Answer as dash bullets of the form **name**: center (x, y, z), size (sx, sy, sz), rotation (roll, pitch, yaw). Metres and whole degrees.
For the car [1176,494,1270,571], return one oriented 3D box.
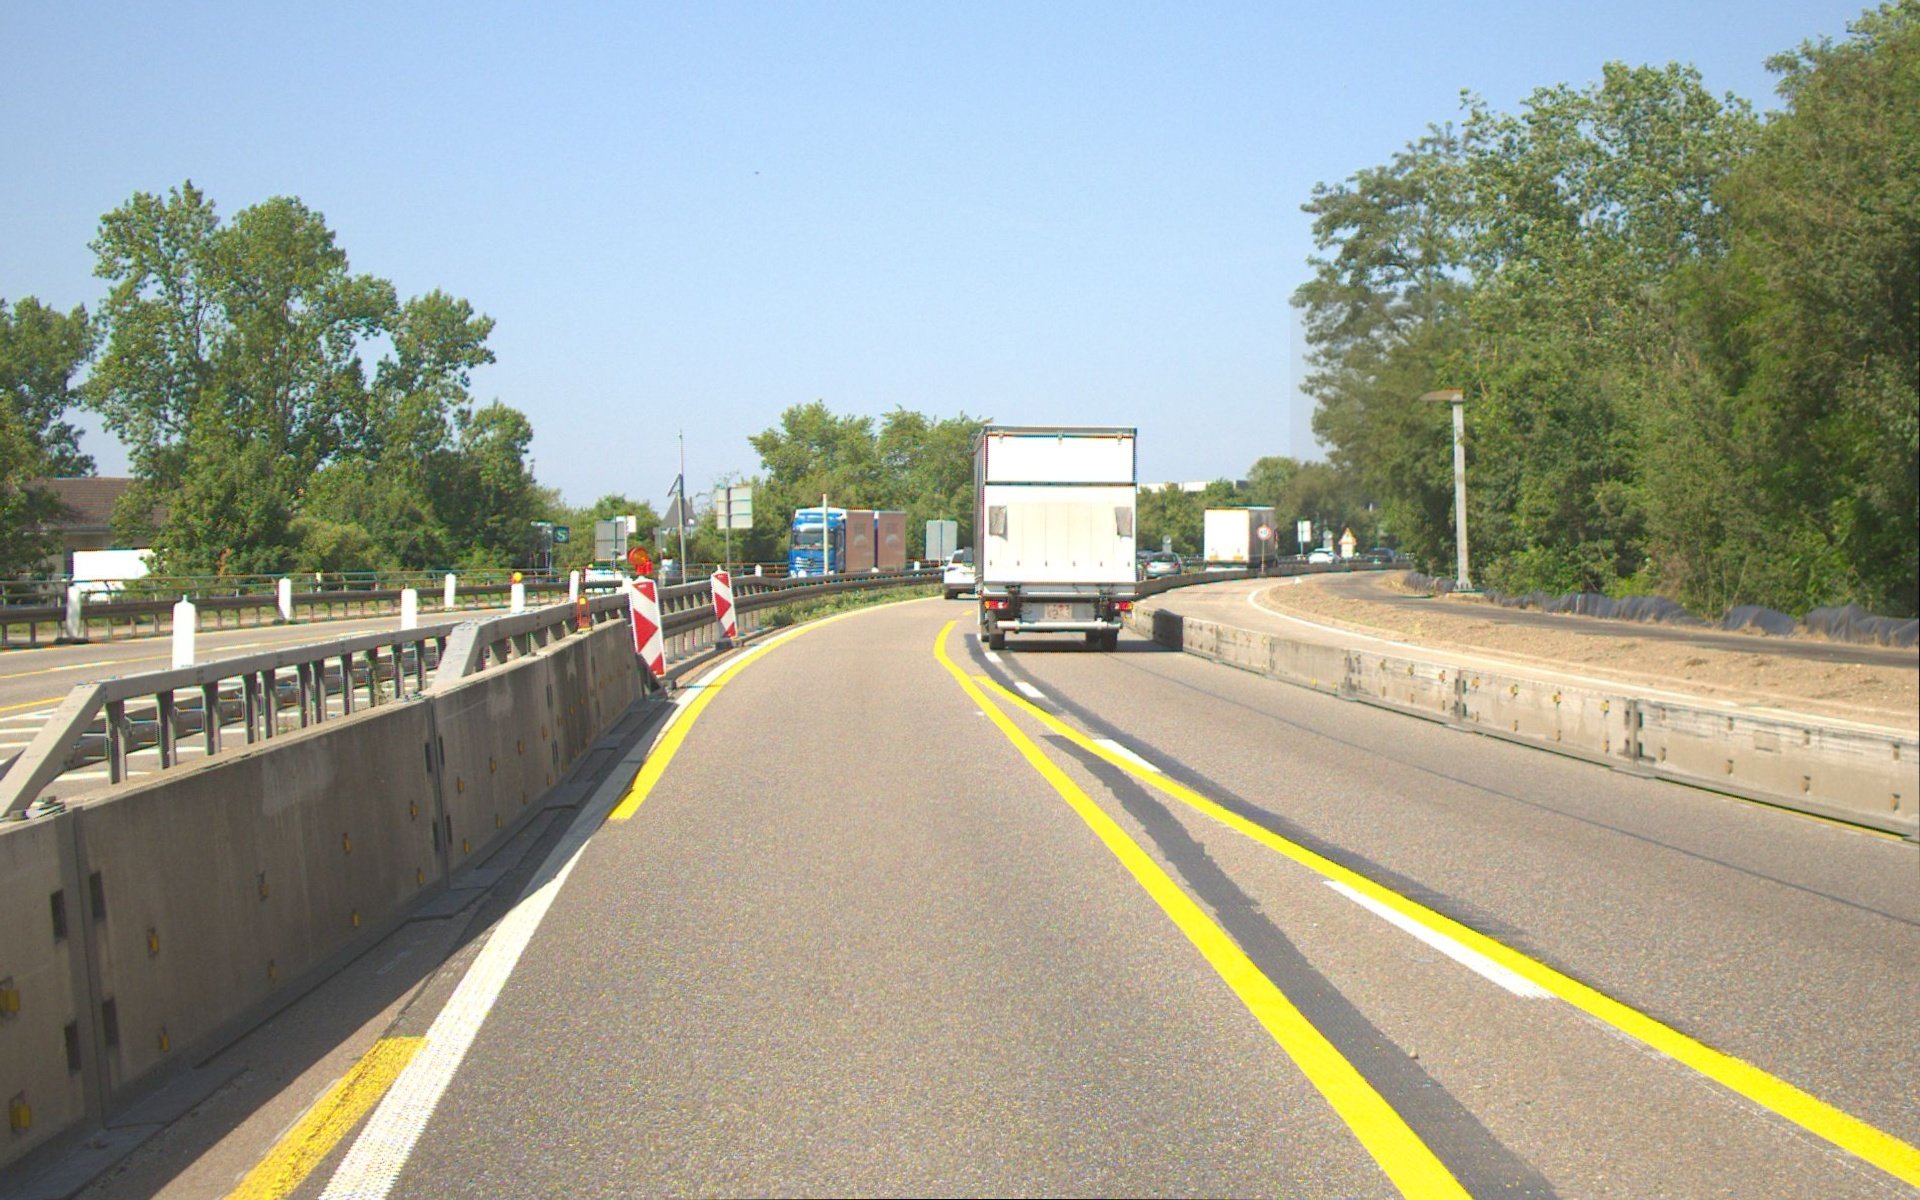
- **car**: center (15.537, -3.991, 202.108), size (4.209, 4.237, 10.657), rotation (-2, 1, 11)

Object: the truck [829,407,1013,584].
- **truck**: center (-0.988, -2.365, 79.387), size (3.388, 3.761, 7.234), rotation (-3, 1, -6)

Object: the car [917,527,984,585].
- **car**: center (-0.273, -1.437, 110.576), size (1.817, 1.770, 4.000), rotation (-2, 1, 4)

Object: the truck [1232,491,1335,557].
- **truck**: center (22.275, -5.236, 236.184), size (4.224, 4.252, 10.230), rotation (-2, 1, 21)

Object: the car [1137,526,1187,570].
- **car**: center (9.845, -2.530, 167.510), size (1.994, 2.007, 3.999), rotation (-2, 1, 9)

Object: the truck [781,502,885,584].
- **truck**: center (-6.439, -2.954, 176.489), size (3.039, 4.077, 10.620), rotation (0, 1, 11)

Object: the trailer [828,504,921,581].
- **trailer**: center (-4.575, -3.136, 186.553), size (3.039, 4.077, 9.784), rotation (0, 1, 11)

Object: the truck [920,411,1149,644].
- **truck**: center (1.068, -1.138, 54.534), size (2.634, 3.416, 7.235), rotation (1, 1, -6)
